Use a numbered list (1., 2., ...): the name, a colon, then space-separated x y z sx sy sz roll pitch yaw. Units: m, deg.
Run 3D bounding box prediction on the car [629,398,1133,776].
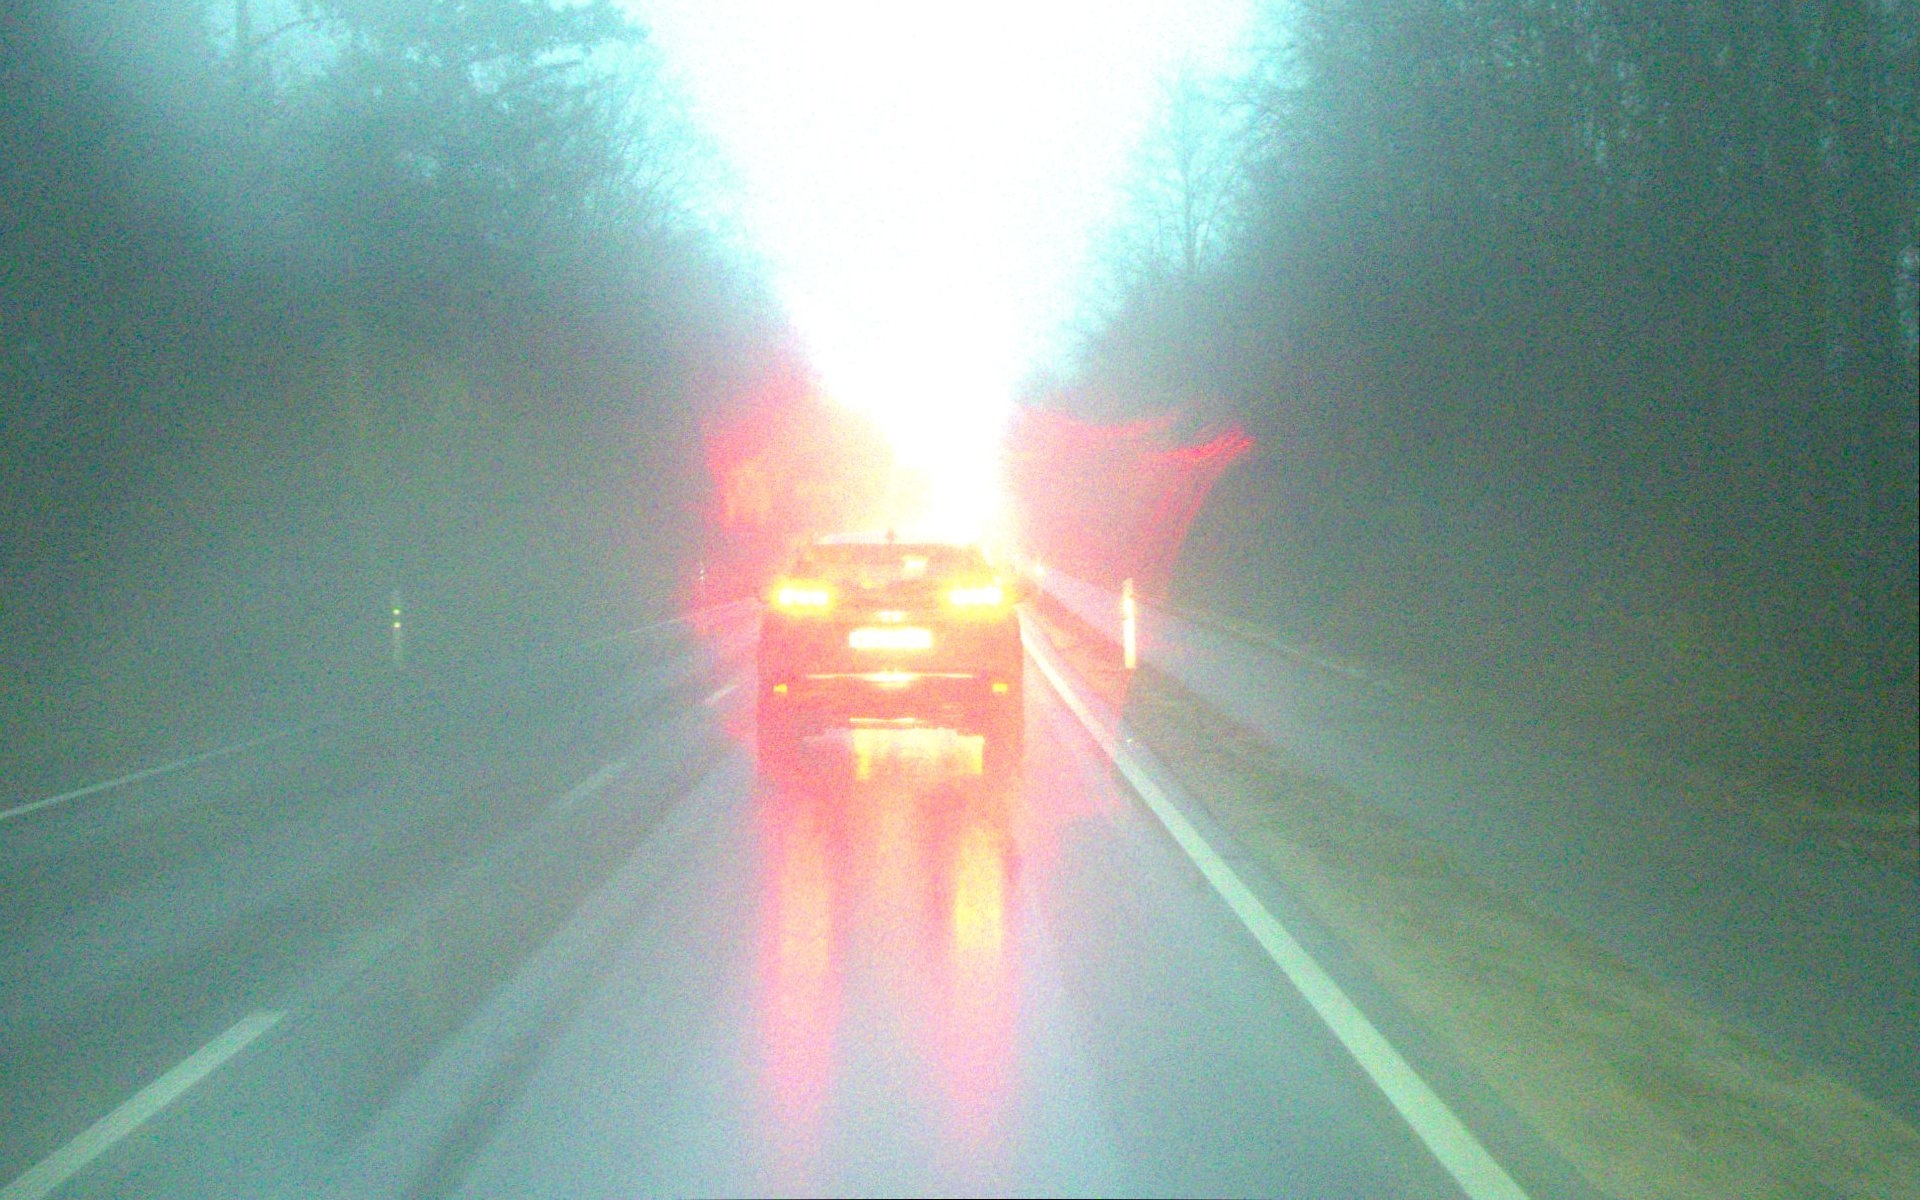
1. car: -0.510 -0.142 25.154 3.183 2.378 6.637 0 1 0
